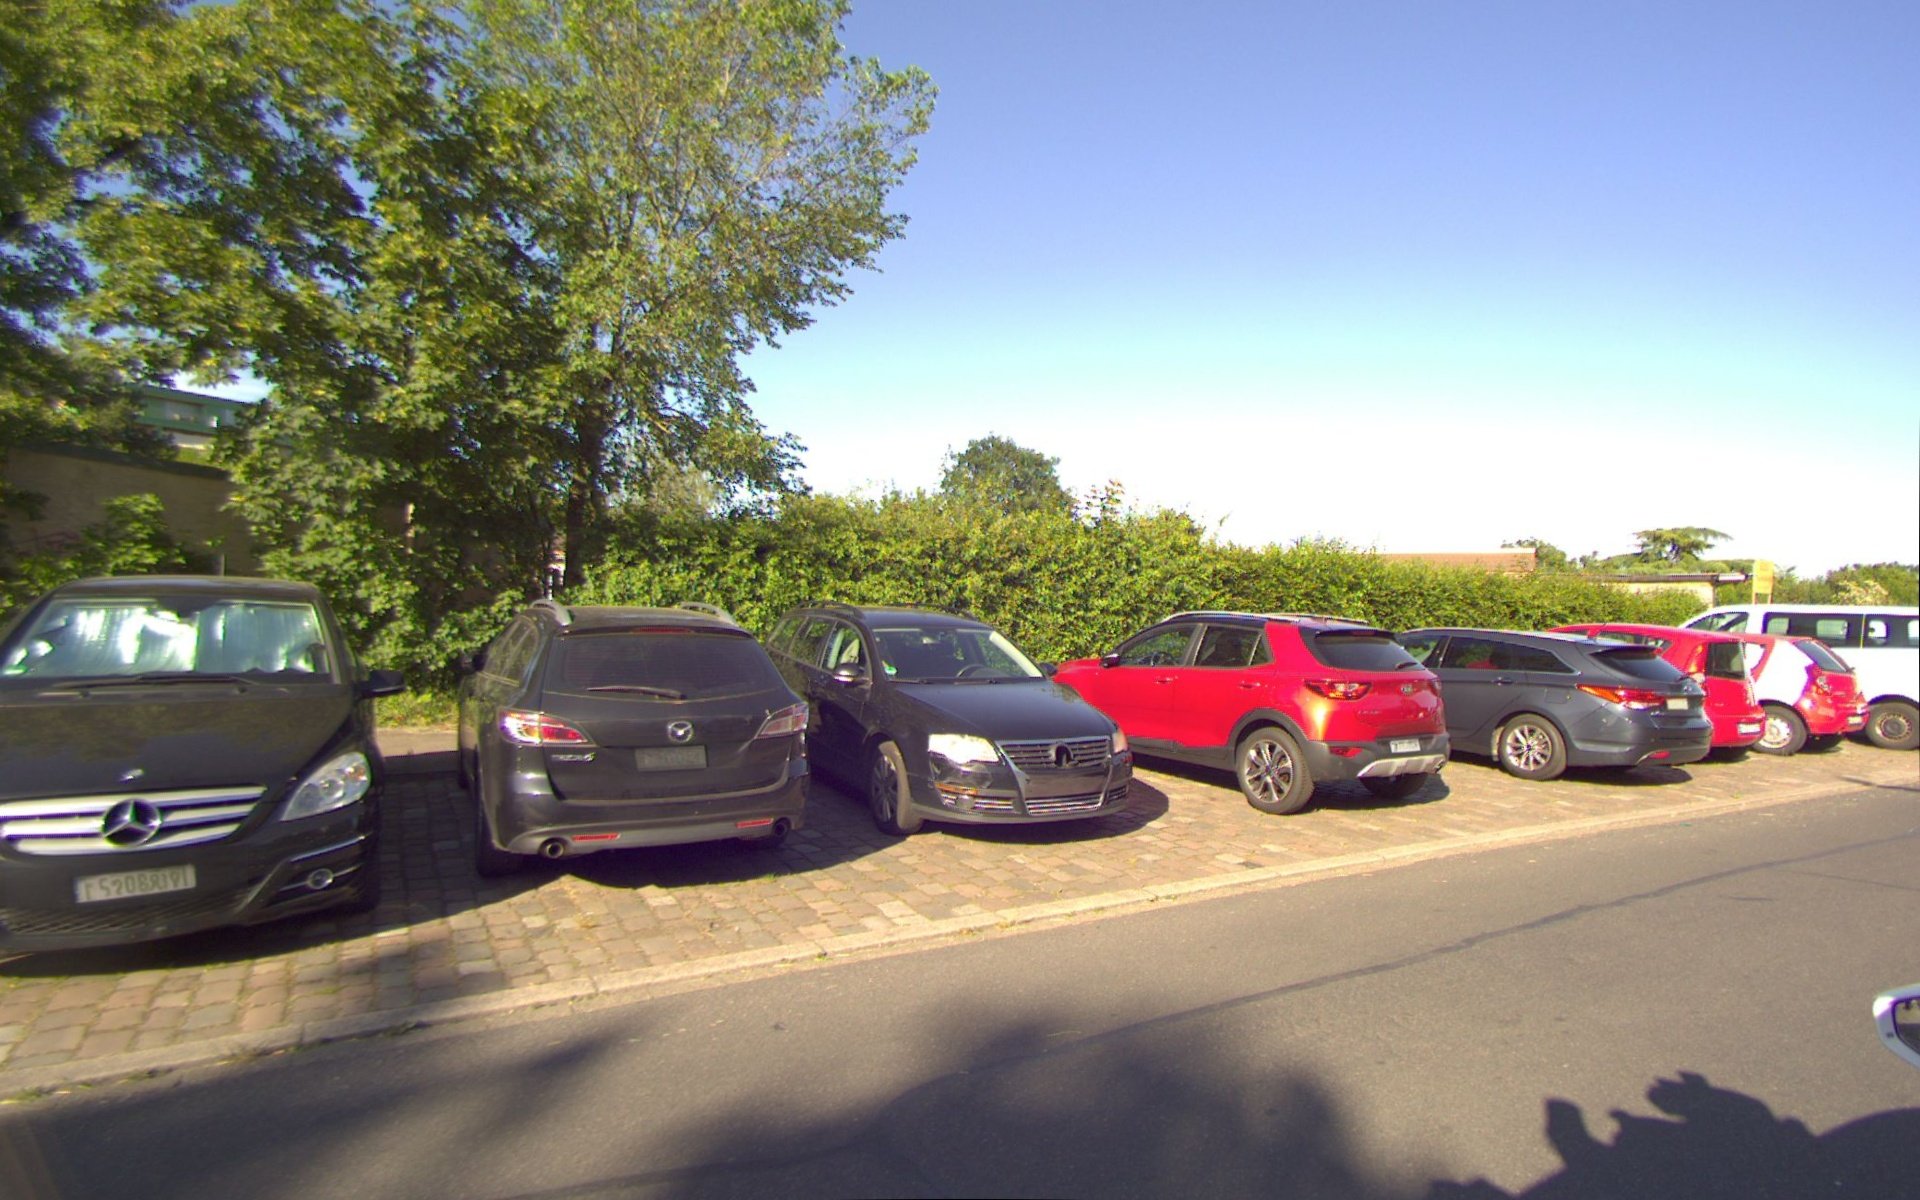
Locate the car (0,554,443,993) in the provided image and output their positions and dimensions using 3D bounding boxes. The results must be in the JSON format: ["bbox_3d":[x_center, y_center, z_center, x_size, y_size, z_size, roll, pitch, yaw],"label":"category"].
[{"bbox_3d":[-4.070,0.584,5.536,1.812,1.553,3.964,3,1,-32],"label":"car"}]

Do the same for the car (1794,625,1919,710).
[{"bbox_3d":[20.138,1.457,20.799,1.862,1.603,3.966,3,1,-31],"label":"car"}]

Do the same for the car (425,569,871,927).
[{"bbox_3d":[-2.339,0.640,6.638,1.793,1.532,4.069,3,1,-32],"label":"car"}]

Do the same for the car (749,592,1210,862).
[{"bbox_3d":[-0.142,0.753,7.939,1.883,1.532,4.001,3,-1,-29],"label":"car"}]

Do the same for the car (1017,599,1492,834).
[{"bbox_3d":[2.401,0.831,9.171,1.771,1.499,3.964,1,2,-32],"label":"car"}]

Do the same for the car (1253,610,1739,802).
[{"bbox_3d":[5.668,0.974,11.273,1.729,1.499,4.516,1,2,-33],"label":"car"}]

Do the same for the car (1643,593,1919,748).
[{"bbox_3d":[13.323,1.007,15.218,1.978,2.003,4.454,3,1,-31],"label":"car"}]

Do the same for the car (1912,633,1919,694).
[{"bbox_3d":[25.001,1.649,23.595,1.619,1.465,3.493,3,1,-32],"label":"car"}]

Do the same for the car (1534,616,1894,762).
[{"bbox_3d":[10.398,1.114,14.117,1.831,1.588,3.584,1,1,-30],"label":"car"}]

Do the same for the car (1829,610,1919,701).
[{"bbox_3d":[22.567,1.346,22.120,2.061,1.946,4.758,3,1,-34],"label":"car"}]

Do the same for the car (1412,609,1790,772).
[{"bbox_3d":[7.970,1.005,12.813,1.859,1.588,3.584,1,1,-30],"label":"car"}]

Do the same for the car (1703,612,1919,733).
[{"bbox_3d":[15.269,1.200,16.795,1.862,1.728,4.129,3,1,-31],"label":"car"}]
